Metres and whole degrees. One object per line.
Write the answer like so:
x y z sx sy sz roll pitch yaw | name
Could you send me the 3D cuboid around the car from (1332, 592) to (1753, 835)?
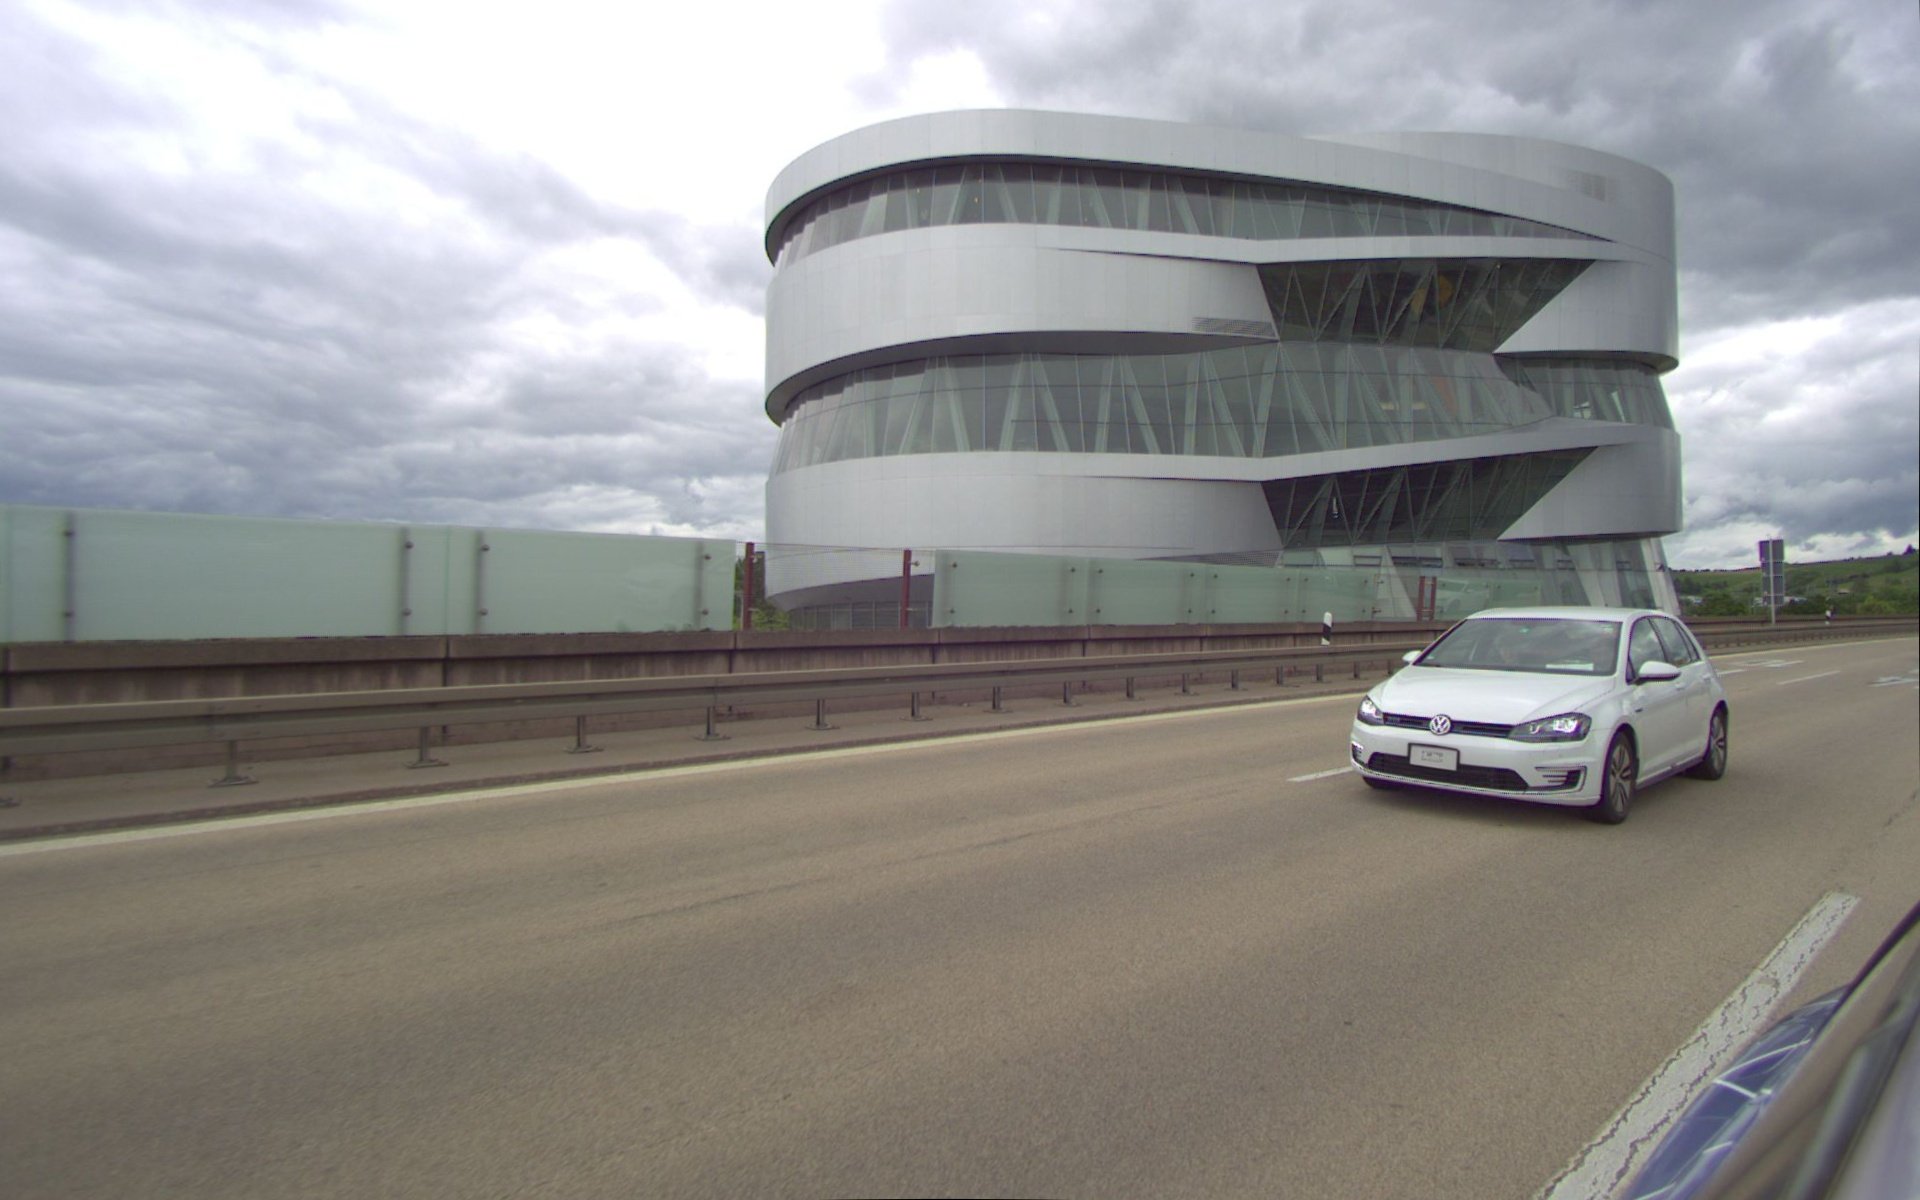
4.826 0.690 8.143 4.001 1.470 1.757 0 0 -41 | car
